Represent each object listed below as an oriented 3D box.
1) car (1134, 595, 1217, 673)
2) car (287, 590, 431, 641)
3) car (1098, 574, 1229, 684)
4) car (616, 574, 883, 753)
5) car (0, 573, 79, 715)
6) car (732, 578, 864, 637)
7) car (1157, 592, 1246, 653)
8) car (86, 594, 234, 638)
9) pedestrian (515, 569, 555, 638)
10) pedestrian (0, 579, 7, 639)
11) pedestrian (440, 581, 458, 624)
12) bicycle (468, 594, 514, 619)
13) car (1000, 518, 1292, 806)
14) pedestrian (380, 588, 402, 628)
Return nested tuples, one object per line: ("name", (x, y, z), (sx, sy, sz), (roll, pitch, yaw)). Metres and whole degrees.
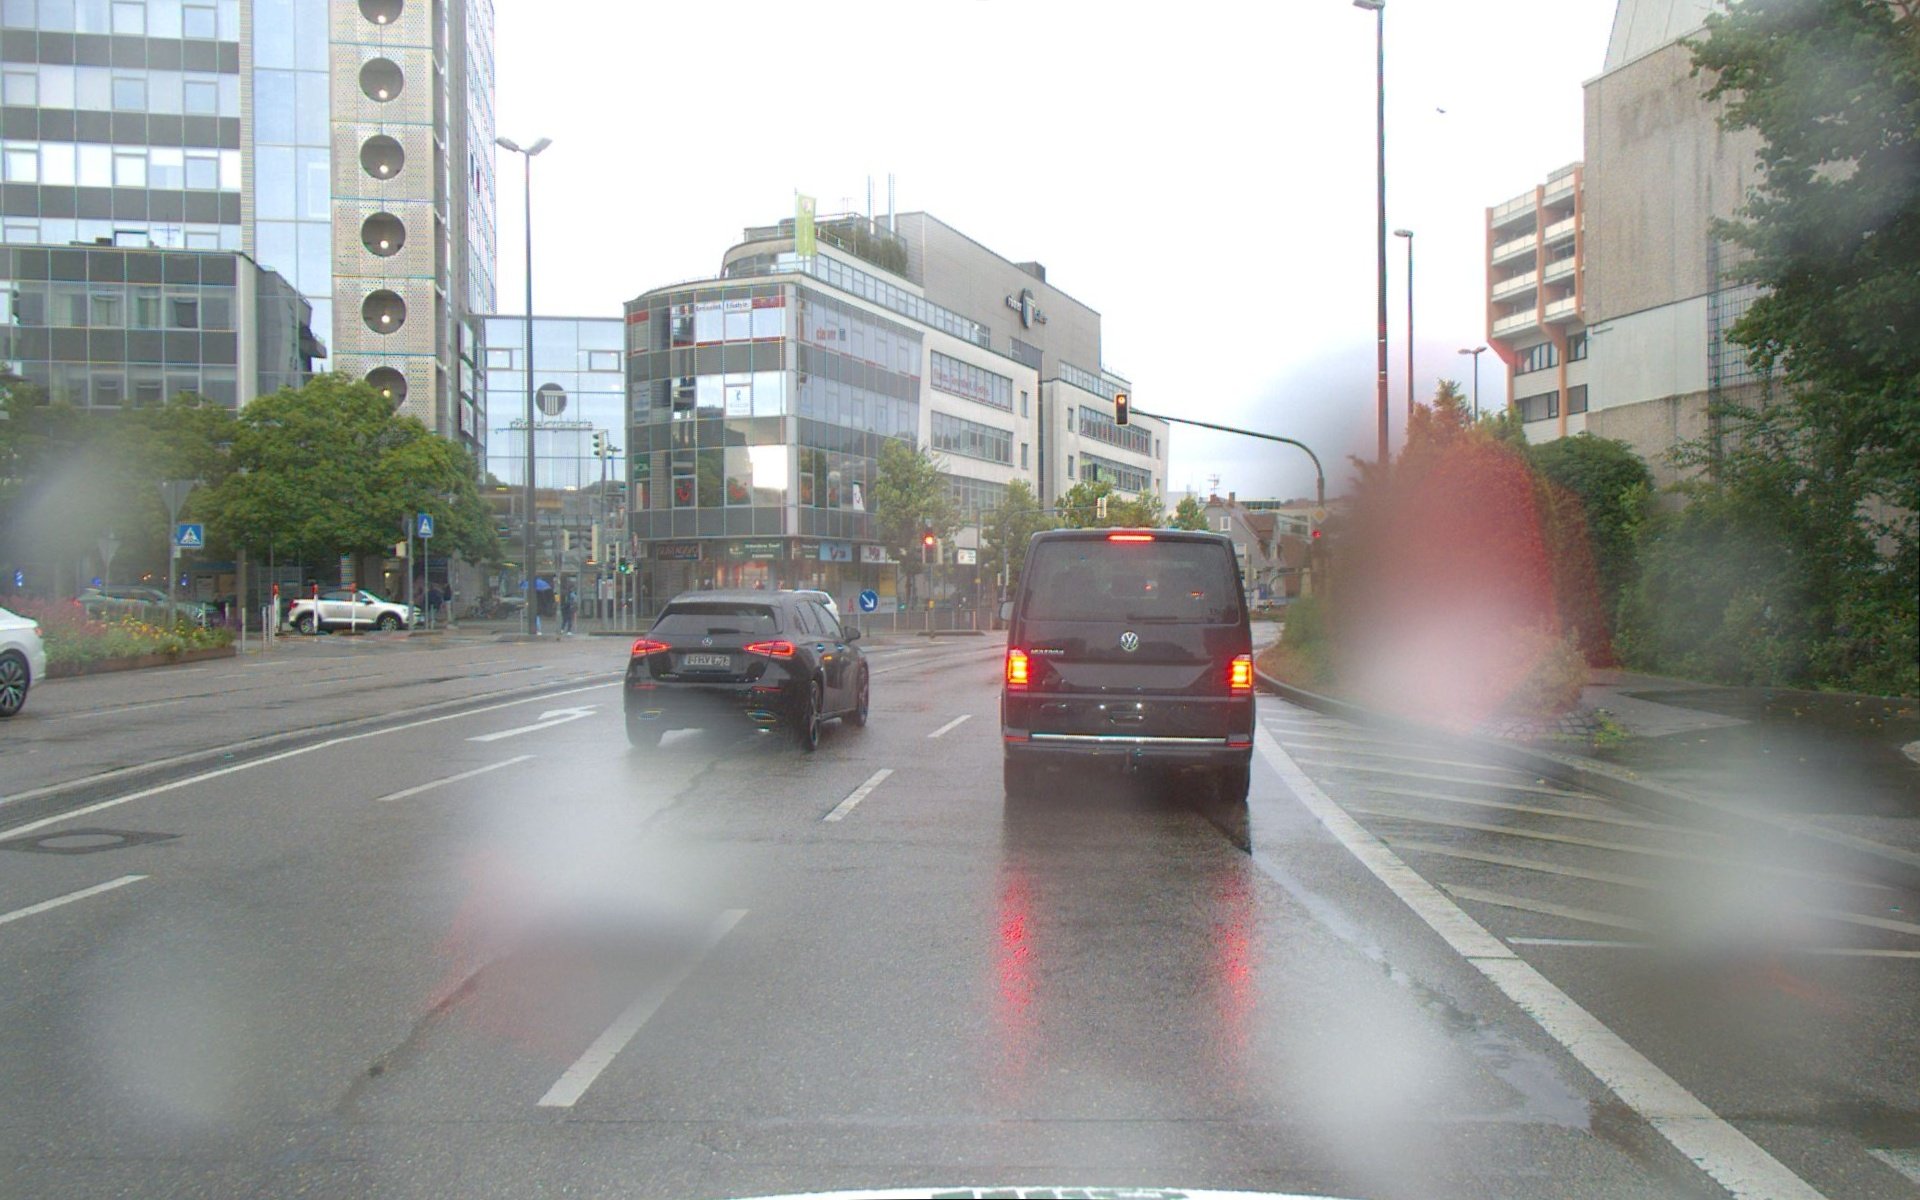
("car", (4.574, 0.661, 34.740), (1.599, 1.473, 4.272), (1, 1, 9))
("car", (-19.866, 0.493, 54.766), (4.110, 1.623, 1.868), (0, 0, -5))
("car", (3.423, 0.417, 27.168), (1.860, 1.649, 4.339), (0, 0, 11))
("car", (-1.946, 0.539, 16.461), (1.777, 1.556, 3.815), (1, 0, 6))
("car", (-11.028, 0.462, 16.492), (1.804, 1.486, 4.810), (0, 0, 2))
("car", (-4.914, 0.221, 50.820), (1.850, 1.712, 4.499), (1, 0, 28))
("car", (5.963, 0.537, 40.547), (1.871, 1.425, 3.460), (0, -1, 13))
("car", (-26.422, 0.518, 54.716), (3.965, 1.445, 1.869), (0, 0, -4))
("pedestrian", (-12.878, 0.089, 50.122), (1.143, 2.049, 1.322), (0, 0, -17))
("pedestrian", (-22.276, 0.202, 37.951), (0.486, 1.371, 0.536), (0, 0, 26))
("pedestrian", (-24.456, 0.093, 79.186), (0.749, 2.049, 0.712), (0, 0, -13))
("bicycle", (-24.236, 0.344, 85.473), (2.233, 1.268, 0.674), (-1, 0, -12))
("car", (1.462, 0.418, 13.473), (1.953, 1.927, 4.590), (0, 0, 5))
("pedestrian", (-26.845, 0.372, 78.025), (0.745, 1.901, 0.822), (-1, 0, -37))
